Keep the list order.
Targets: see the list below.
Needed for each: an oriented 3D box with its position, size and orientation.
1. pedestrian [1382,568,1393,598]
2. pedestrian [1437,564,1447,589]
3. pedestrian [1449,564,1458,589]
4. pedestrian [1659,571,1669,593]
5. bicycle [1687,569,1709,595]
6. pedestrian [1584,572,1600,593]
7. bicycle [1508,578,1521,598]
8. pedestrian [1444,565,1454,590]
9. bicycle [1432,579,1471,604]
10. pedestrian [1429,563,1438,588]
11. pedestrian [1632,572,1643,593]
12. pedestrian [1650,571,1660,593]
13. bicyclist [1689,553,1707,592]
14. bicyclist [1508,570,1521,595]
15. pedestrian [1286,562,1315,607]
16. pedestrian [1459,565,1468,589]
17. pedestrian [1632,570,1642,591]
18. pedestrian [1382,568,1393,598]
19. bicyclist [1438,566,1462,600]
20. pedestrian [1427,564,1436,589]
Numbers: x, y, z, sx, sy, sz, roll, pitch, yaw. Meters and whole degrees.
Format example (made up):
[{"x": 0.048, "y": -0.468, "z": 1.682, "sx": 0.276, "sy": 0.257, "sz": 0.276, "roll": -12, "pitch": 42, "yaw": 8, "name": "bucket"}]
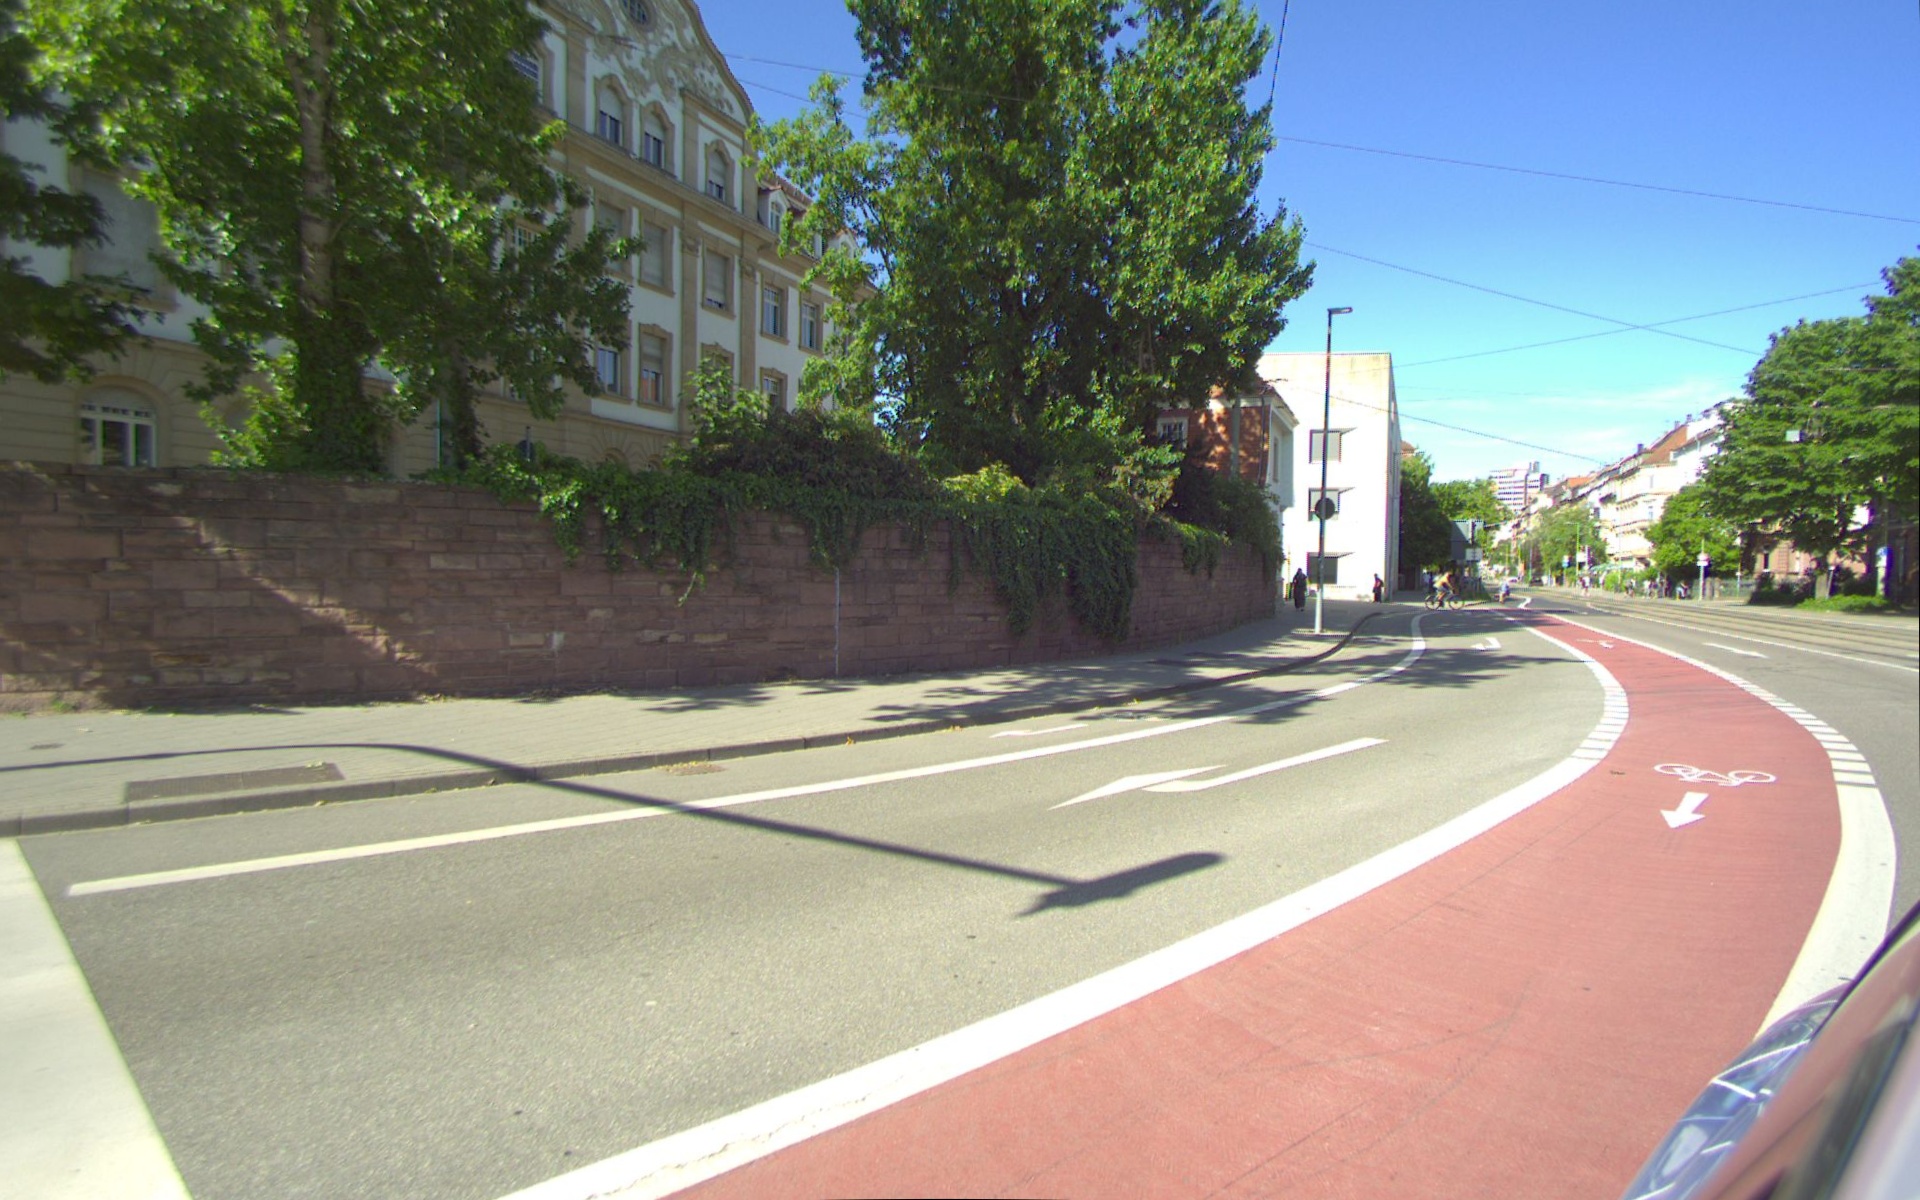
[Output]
[{"x": 22.847, "y": -0.897, "z": 54.073, "sx": 0.515, "sy": 1.586, "sz": 0.530, "roll": 1, "pitch": 2, "yaw": 25, "name": "pedestrian"}, {"x": 35.604, "y": -1.757, "z": 74.731, "sx": 0.582, "sy": 1.828, "sz": 0.541, "roll": 1, "pitch": 2, "yaw": 25, "name": "pedestrian"}, {"x": 36.251, "y": -1.756, "z": 74.371, "sx": 0.582, "sy": 1.828, "sz": 0.516, "roll": 1, "pitch": 2, "yaw": 25, "name": "pedestrian"}, {"x": 59.147, "y": -1.528, "z": 85.011, "sx": 0.573, "sy": 1.879, "sz": 0.678, "roll": 2, "pitch": 2, "yaw": 26, "name": "pedestrian"}, {"x": 58.233, "y": -1.461, "z": 79.873, "sx": 1.000, "sy": 1.910, "sz": 3.835, "roll": 1, "pitch": 3, "yaw": 42, "name": "bicycle"}, {"x": 54.036, "y": -1.529, "z": 86.577, "sx": 0.916, "sy": 1.759, "sz": 0.678, "roll": 1, "pitch": 2, "yaw": 7, "name": "pedestrian"}, {"x": 33.810, "y": -0.743, "z": 61.717, "sx": 0.660, "sy": 1.166, "sz": 1.655, "roll": 0, "pitch": 2, "yaw": 29, "name": "bicycle"}, {"x": 36.656, "y": -1.702, "z": 75.840, "sx": 0.582, "sy": 1.828, "sz": 0.578, "roll": 1, "pitch": 2, "yaw": 25, "name": "pedestrian"}, {"x": 23.657, "y": -0.405, "z": 48.718, "sx": 1.576, "sy": 1.166, "sz": 0.741, "roll": 0, "pitch": 2, "yaw": 16, "name": "bicycle"}, {"x": 35.666, "y": -1.848, "z": 76.231, "sx": 0.582, "sy": 1.828, "sz": 0.578, "roll": 1, "pitch": 2, "yaw": 25, "name": "pedestrian"}, {"x": 59.868, "y": -1.564, "z": 89.437, "sx": 0.722, "sy": 1.879, "sz": 0.648, "roll": 2, "pitch": 2, "yaw": 28, "name": "pedestrian"}, {"x": 58.478, "y": -1.524, "z": 85.148, "sx": 0.573, "sy": 1.879, "sz": 0.678, "roll": 2, "pitch": 2, "yaw": 26, "name": "pedestrian"}, {"x": 58.204, "y": -2.156, "z": 79.808, "sx": 1.000, "sy": 3.012, "sz": 1.452, "roll": 1, "pitch": 2, "yaw": 42, "name": "bicyclist"}, {"x": 33.797, "y": -1.056, "z": 61.692, "sx": 0.660, "sy": 1.479, "sz": 0.616, "roll": 0, "pitch": 2, "yaw": 30, "name": "bicyclist"}, {"x": 13.481, "y": -0.610, "z": 40.083, "sx": 0.930, "sy": 1.698, "sz": 0.946, "roll": 4, "pitch": 4, "yaw": 24, "name": "pedestrian"}, {"x": 36.920, "y": -1.692, "z": 74.206, "sx": 0.582, "sy": 1.748, "sz": 0.516, "roll": 1, "pitch": 2, "yaw": 25, "name": "pedestrian"}, {"x": 59.800, "y": -1.719, "z": 89.410, "sx": 0.573, "sy": 1.879, "sz": 0.678, "roll": 2, "pitch": 2, "yaw": 26, "name": "pedestrian"}, {"x": 23.088, "y": -0.922, "z": 54.617, "sx": 0.515, "sy": 1.586, "sz": 0.530, "roll": 1, "pitch": 2, "yaw": 25, "name": "pedestrian"}, {"x": 23.588, "y": -0.816, "z": 48.726, "sx": 0.867, "sy": 1.602, "sz": 0.742, "roll": 0, "pitch": 2, "yaw": 16, "name": "bicyclist"}, {"x": 34.968, "y": -1.758, "z": 75.040, "sx": 0.582, "sy": 1.828, "sz": 0.541, "roll": 1, "pitch": 2, "yaw": 25, "name": "pedestrian"}]
